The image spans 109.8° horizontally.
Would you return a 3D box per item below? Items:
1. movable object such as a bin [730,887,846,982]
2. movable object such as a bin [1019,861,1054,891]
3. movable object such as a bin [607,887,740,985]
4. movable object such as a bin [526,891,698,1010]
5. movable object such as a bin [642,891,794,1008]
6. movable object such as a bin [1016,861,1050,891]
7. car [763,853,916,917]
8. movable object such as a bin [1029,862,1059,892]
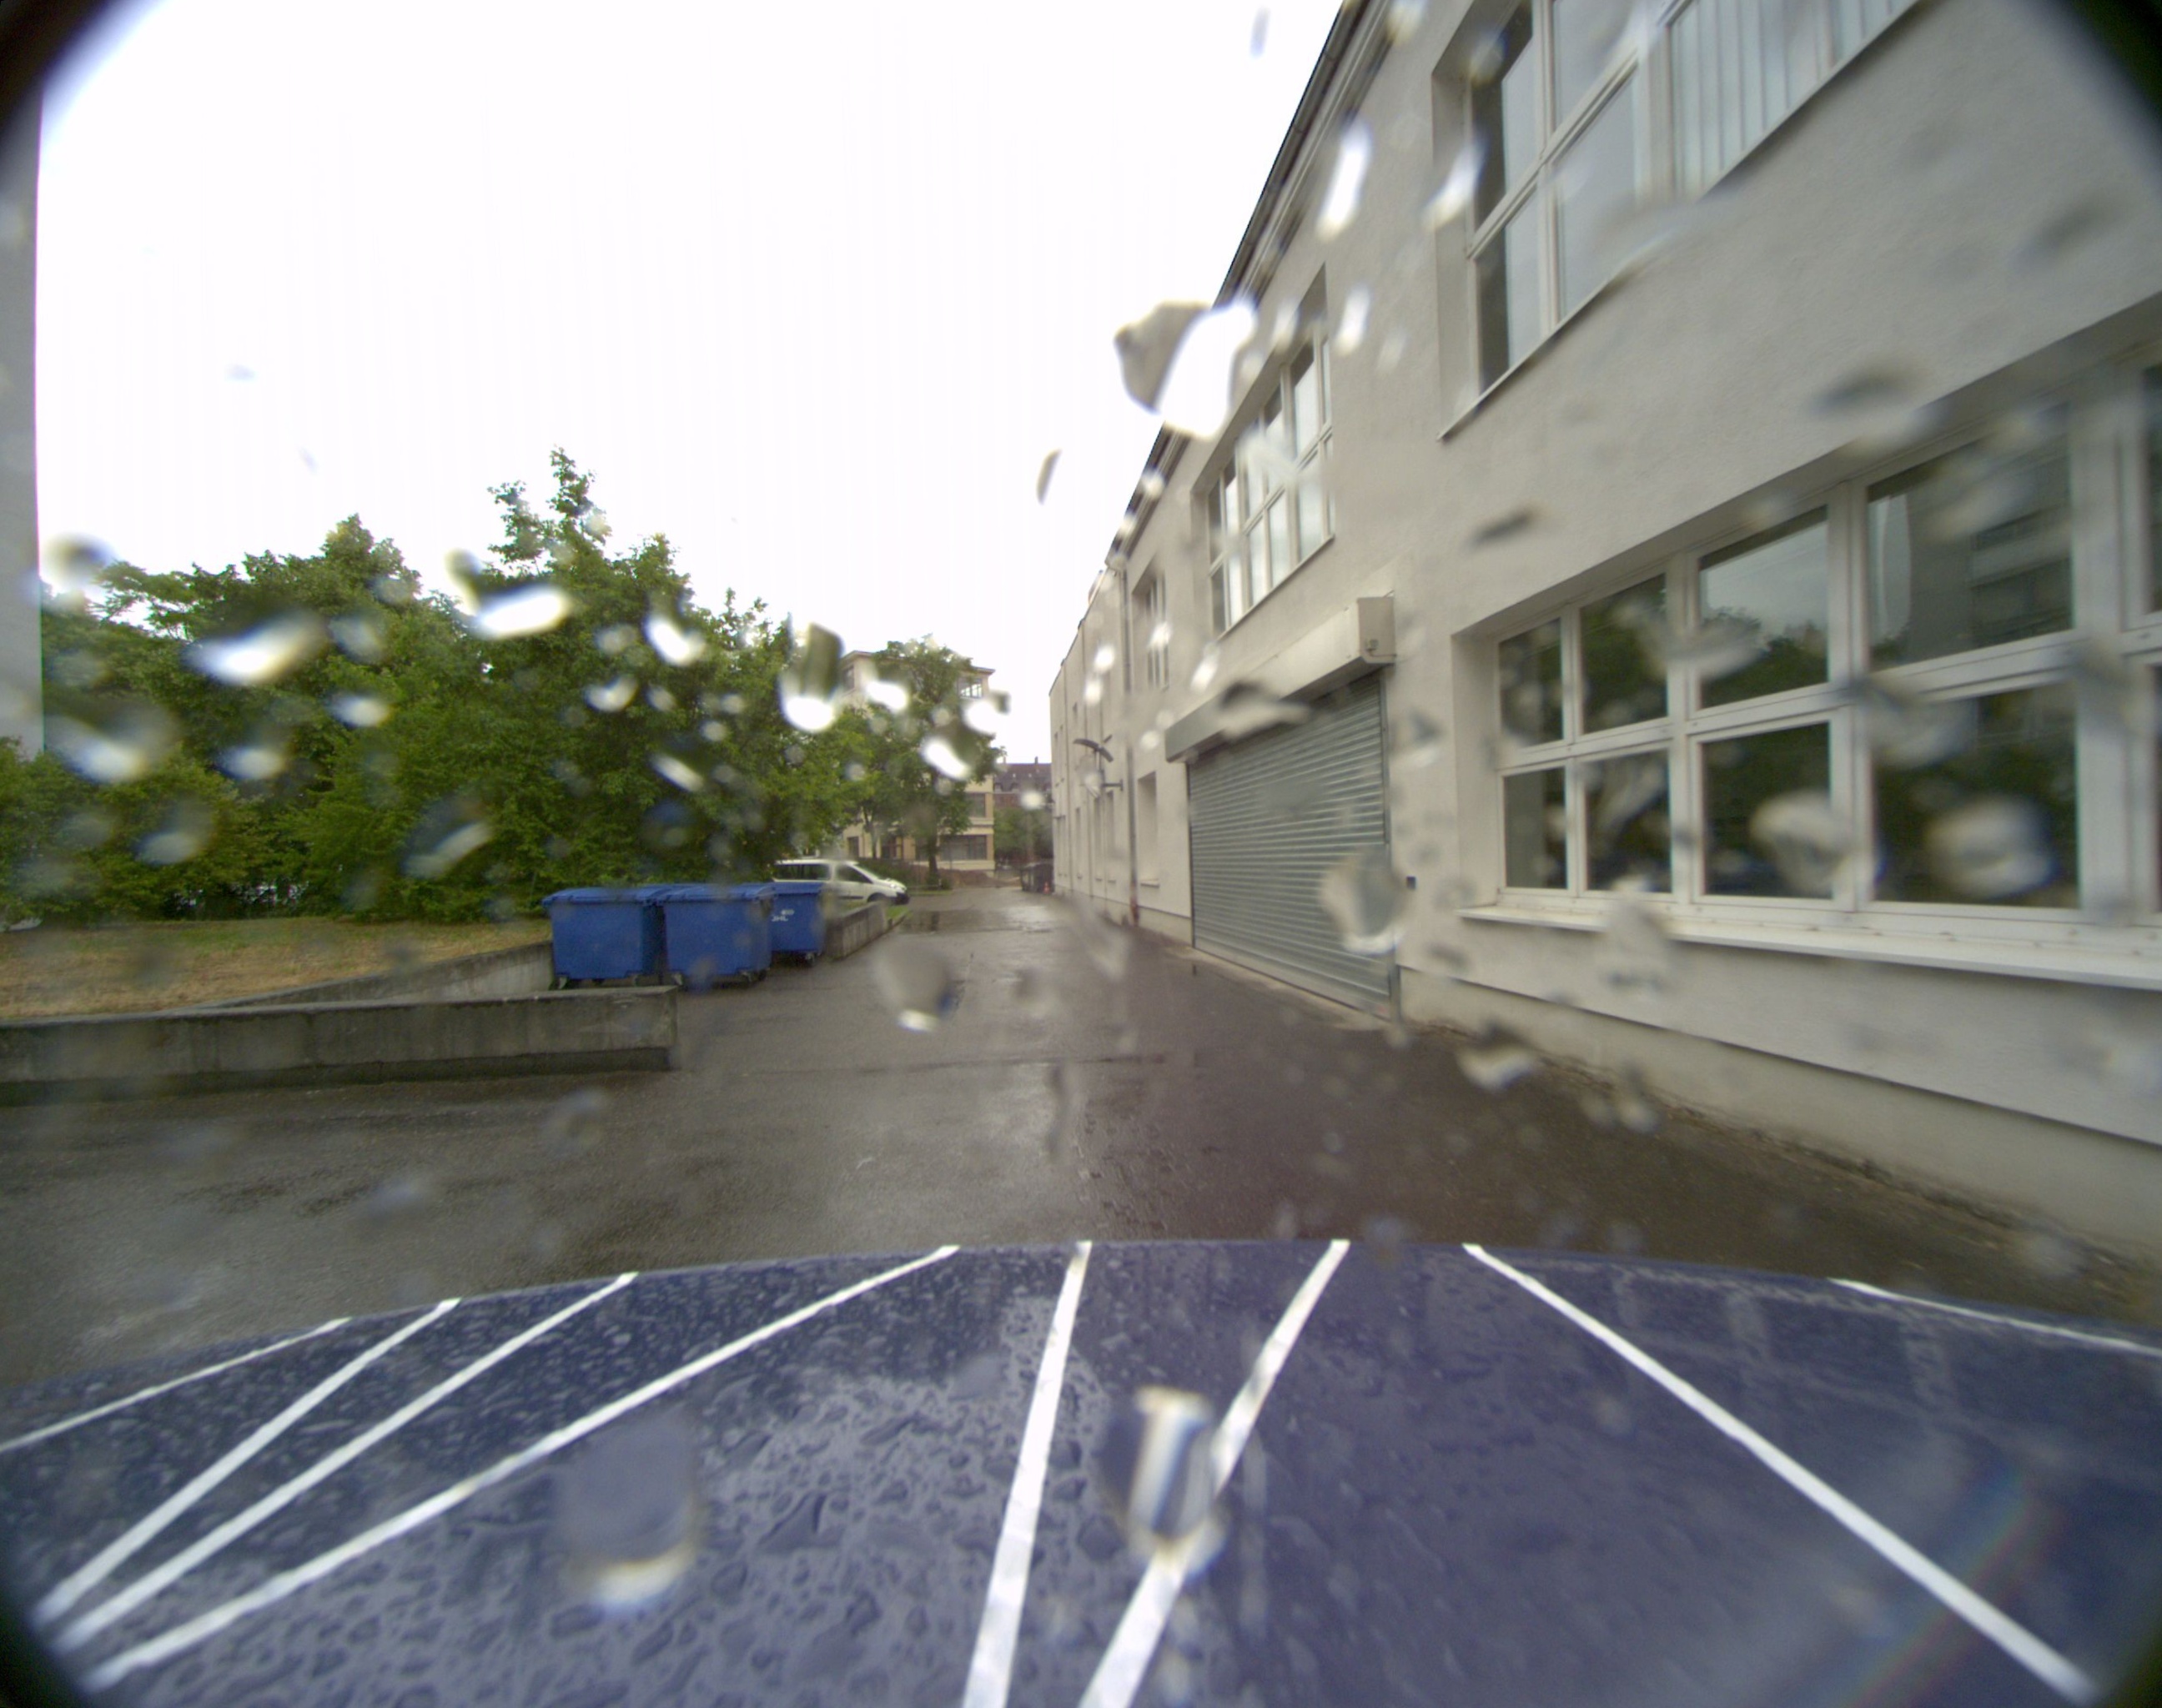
[{"bbox_3d":[-4.687,1.242,12.355,1.313,1.349,1.904,-3,-2,-9],"label":"movable object such as a bin"},{"bbox_3d":[-2.262,1.134,38.625,1.493,1.439,1.313,-3,-2,-13],"label":"movable object such as a bin"},{"bbox_3d":[-6.435,1.242,12.176,1.233,1.349,1.970,-3,-2,-9],"label":"movable object such as a bin"},{"bbox_3d":[-6.177,1.207,10.194,1.233,1.349,1.970,-3,-2,-9],"label":"movable object such as a bin"},{"bbox_3d":[-4.868,1.231,10.393,1.313,1.349,1.904,-3,-2,-9],"label":"movable object such as a bin"},{"bbox_3d":[-2.548,1.163,39.942,1.493,1.439,1.313,-3,-2,-13],"label":"movable object such as a bin"},{"bbox_3d":[-8.391,1.100,26.803,4.697,1.870,2.123,-3,-3,-6],"label":"car"},{"bbox_3d":[-1.817,1.131,37.151,1.188,1.365,1.313,-3,-2,-13],"label":"movable object such as a bin"}]
